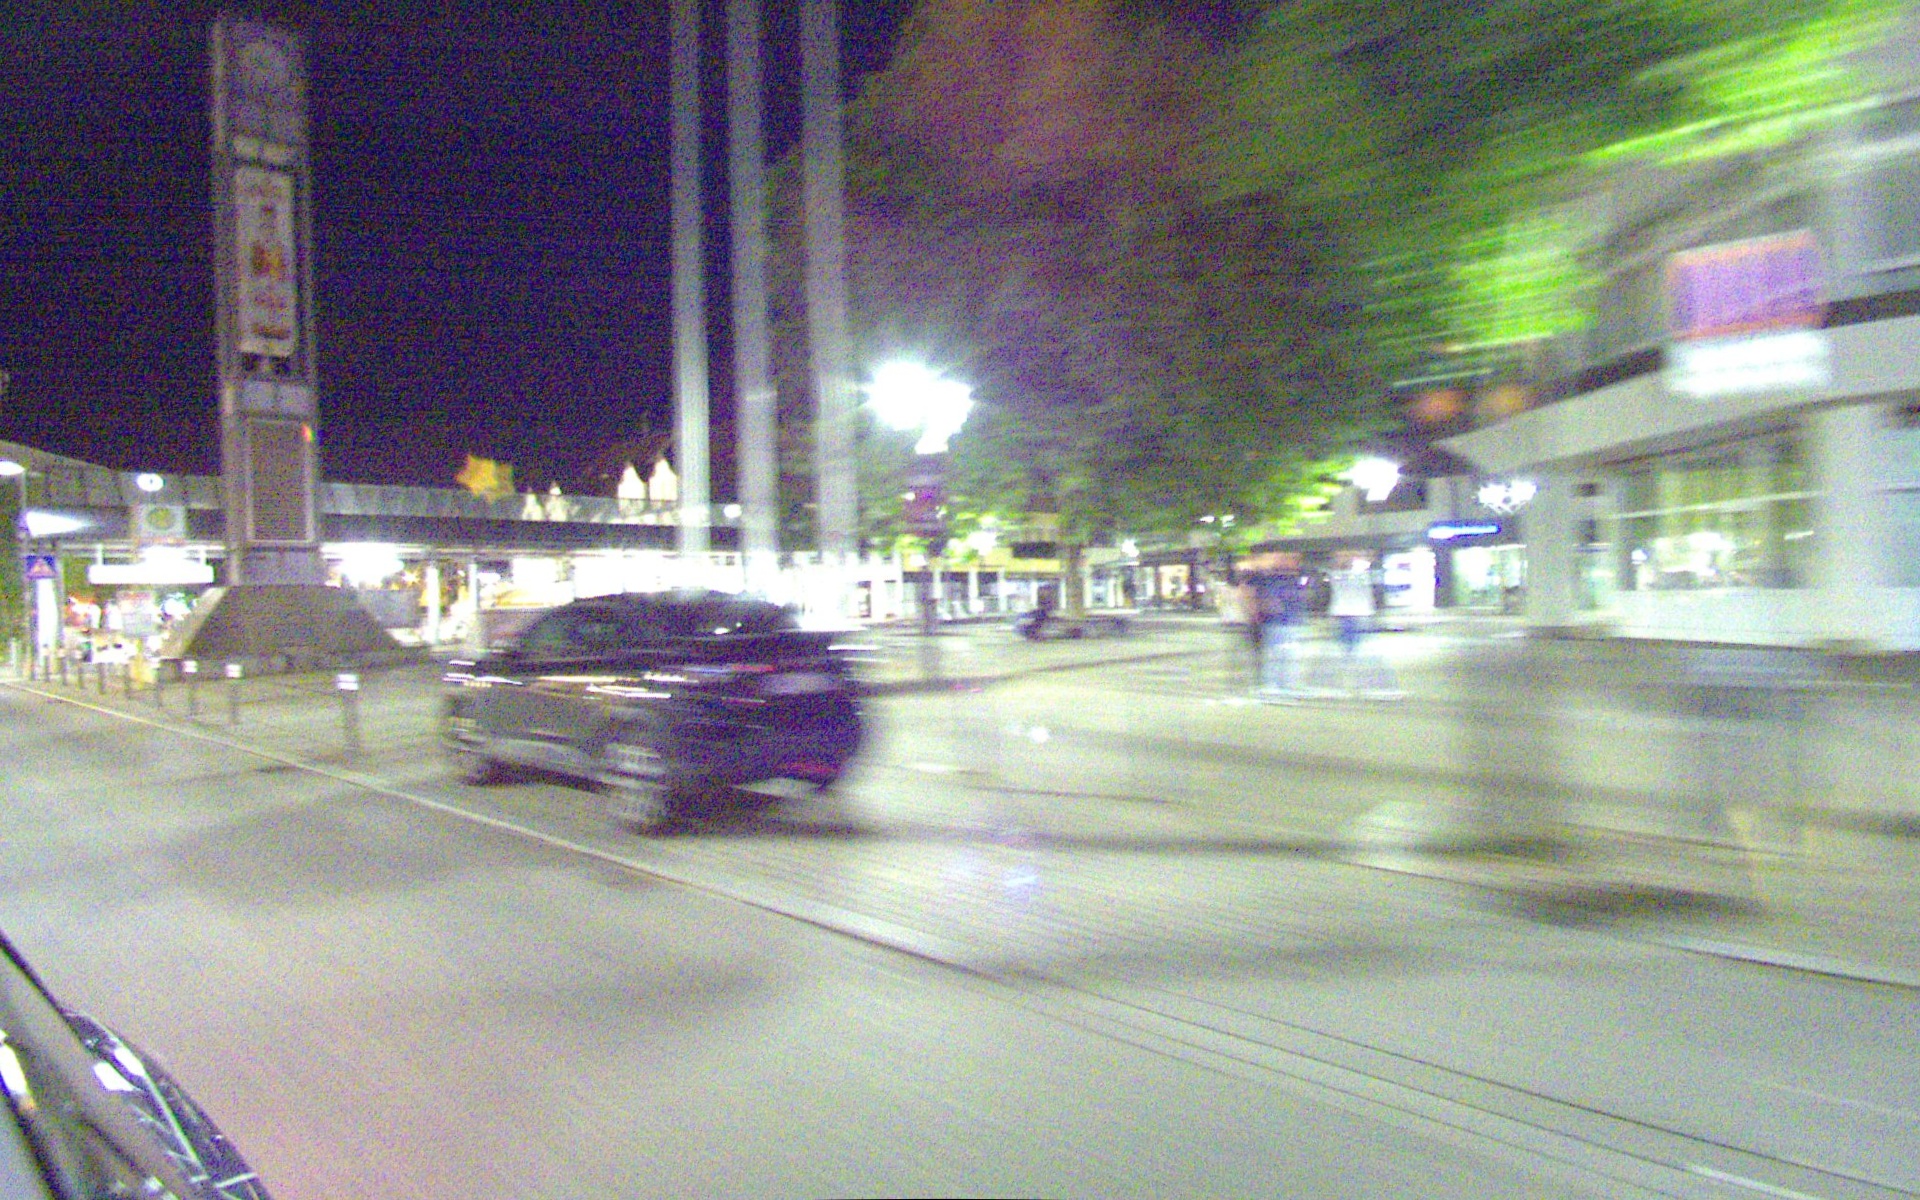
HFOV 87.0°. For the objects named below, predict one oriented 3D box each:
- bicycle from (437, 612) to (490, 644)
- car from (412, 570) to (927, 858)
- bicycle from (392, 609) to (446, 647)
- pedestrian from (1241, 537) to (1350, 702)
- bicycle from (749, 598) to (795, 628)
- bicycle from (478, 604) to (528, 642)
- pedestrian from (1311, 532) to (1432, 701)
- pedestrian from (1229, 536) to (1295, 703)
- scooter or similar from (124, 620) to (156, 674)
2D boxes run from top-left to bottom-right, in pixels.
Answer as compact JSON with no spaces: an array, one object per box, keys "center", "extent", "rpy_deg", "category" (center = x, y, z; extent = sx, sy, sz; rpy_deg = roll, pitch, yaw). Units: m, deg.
[{"center":[-18.266,1.024,37.223],"extent":[2.481,1.095,0.850],"rpy_deg":[0,1,40],"category":"bicycle"},{"center":[-2.472,0.639,7.833],"extent":[4.483,1.585,1.752],"rpy_deg":[-1,2,43],"category":"car"},{"center":[-19.300,0.976,36.108],"extent":[2.465,1.264,0.850],"rpy_deg":[0,1,40],"category":"bicycle"},{"center":[3.958,0.209,11.975],"extent":[0.866,1.845,0.793],"rpy_deg":[-3,1,-23],"category":"pedestrian"},{"center":[-8.975,0.596,48.325],"extent":[2.509,1.374,0.765],"rpy_deg":[0,1,40],"category":"bicycle"},{"center":[-17.327,0.843,38.346],"extent":[2.412,1.374,0.755],"rpy_deg":[0,1,40],"category":"bicycle"},{"center":[4.702,0.169,11.563],"extent":[1.024,1.831,0.783],"rpy_deg":[-1,2,44],"category":"pedestrian"},{"center":[3.414,0.214,11.457],"extent":[0.494,1.835,0.505],"rpy_deg":[0,0,-24],"category":"pedestrian"},{"center":[-20.324,1.163,25.079],"extent":[1.448,1.273,0.365],"rpy_deg":[-2,0,43],"category":"scooter or similar"}]
